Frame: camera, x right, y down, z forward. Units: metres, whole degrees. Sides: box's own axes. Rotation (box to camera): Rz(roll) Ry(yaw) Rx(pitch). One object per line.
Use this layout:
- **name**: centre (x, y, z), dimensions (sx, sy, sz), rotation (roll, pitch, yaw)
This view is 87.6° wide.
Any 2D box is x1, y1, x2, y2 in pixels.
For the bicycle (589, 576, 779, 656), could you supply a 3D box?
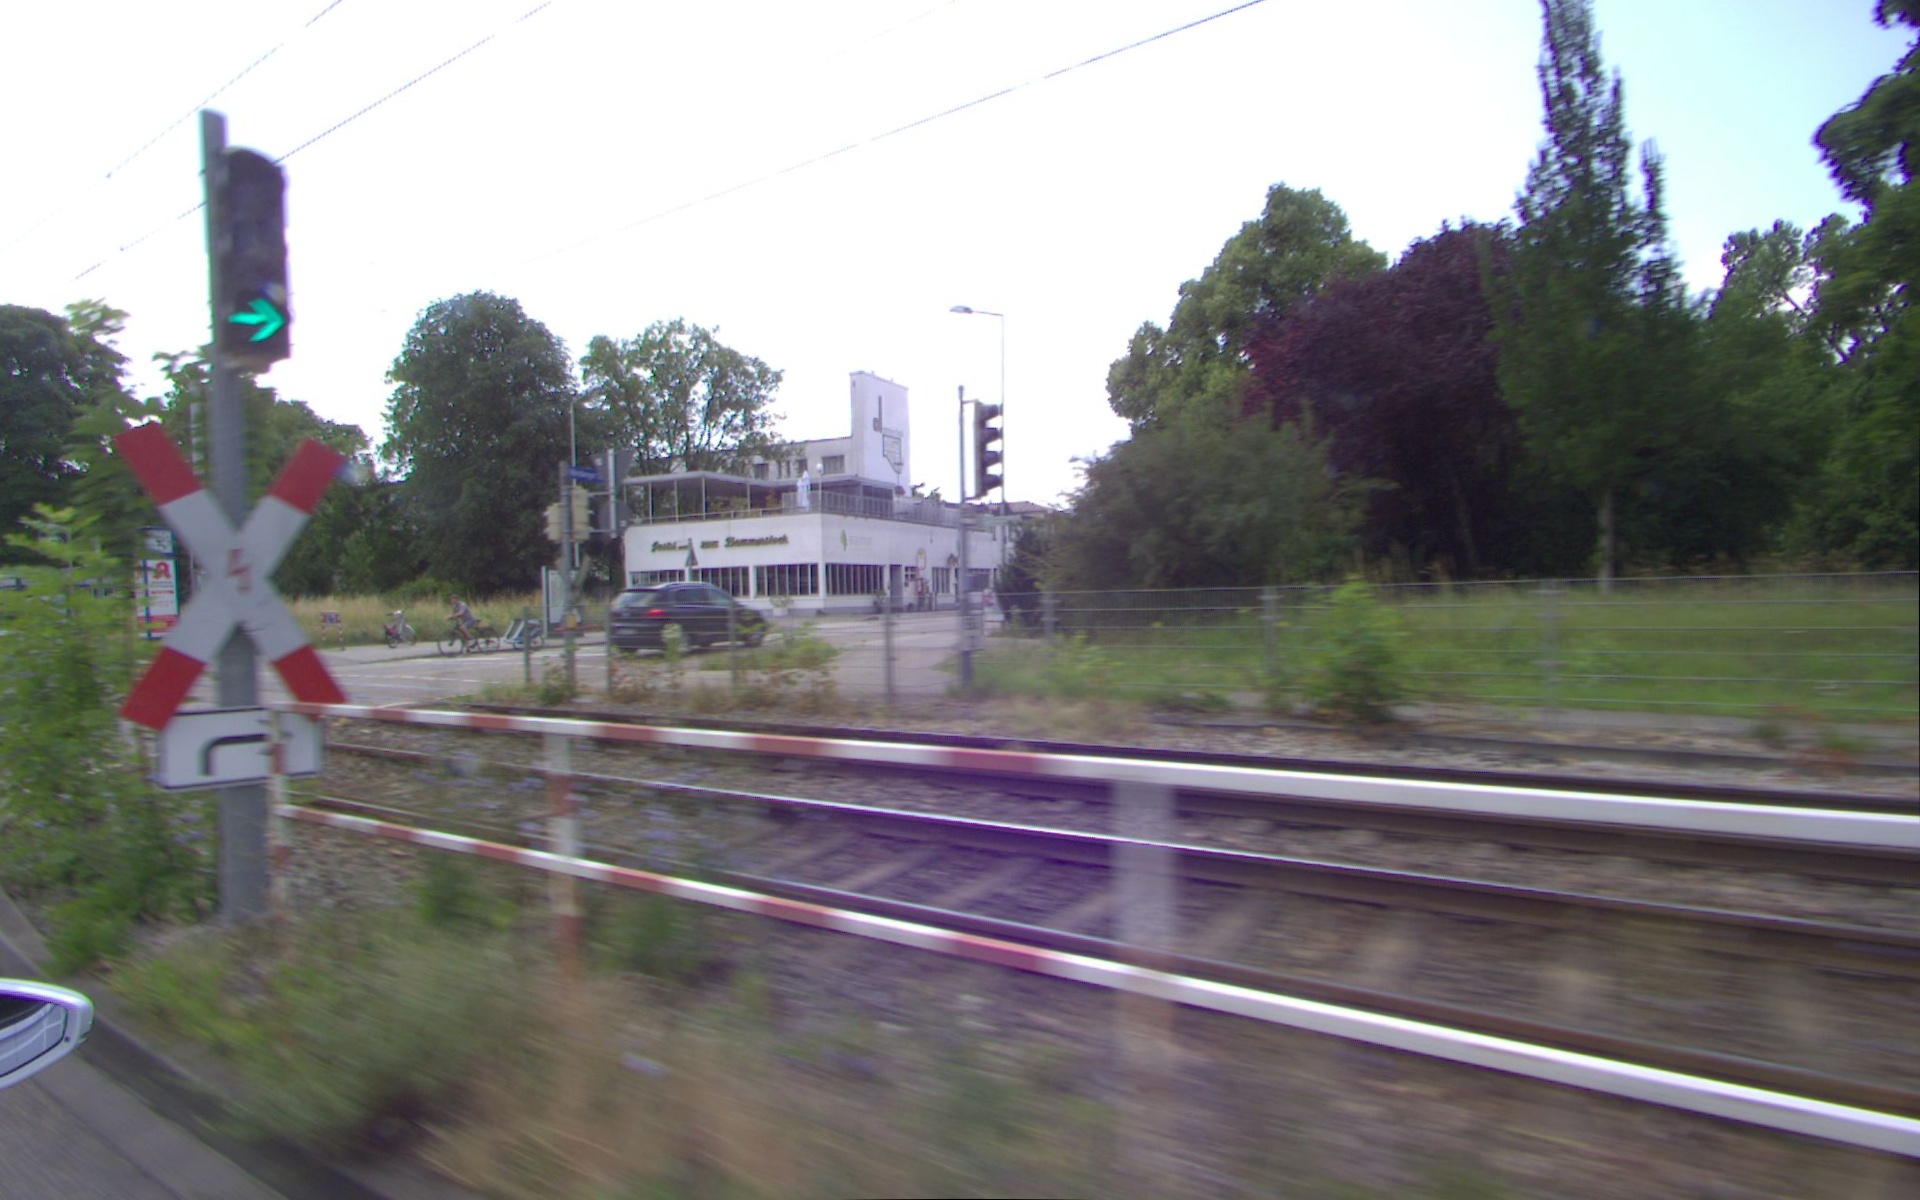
- **bicycle**: centre (-6.420, 0.327, 23.739), dimensions (1.970, 1.697, 4.189), rotation (-1, 1, 29)

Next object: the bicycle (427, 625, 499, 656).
- **bicycle**: centre (-13.629, 1.096, 27.516), dimensions (0.548, 0.775, 1.716), rotation (-1, 0, 36)

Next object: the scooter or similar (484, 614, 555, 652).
- **scooter or similar**: centre (-12.583, 0.920, 28.658), dimensions (0.950, 0.993, 1.569), rotation (-1, 1, 36)

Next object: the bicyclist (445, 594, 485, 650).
- **bicyclist**: centre (-13.594, 0.605, 27.490), dimensions (0.449, 1.495, 0.836), rotation (0, 1, 36)

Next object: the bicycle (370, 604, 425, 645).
- **bicycle**: centre (-17.104, 0.735, 30.485), dimensions (0.688, 1.148, 1.659), rotation (-1, 3, 0)

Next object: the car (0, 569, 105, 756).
- **car**: centre (-9.951, 0.592, 9.291), dimensions (1.957, 1.706, 4.554), rotation (-1, 0, -27)
